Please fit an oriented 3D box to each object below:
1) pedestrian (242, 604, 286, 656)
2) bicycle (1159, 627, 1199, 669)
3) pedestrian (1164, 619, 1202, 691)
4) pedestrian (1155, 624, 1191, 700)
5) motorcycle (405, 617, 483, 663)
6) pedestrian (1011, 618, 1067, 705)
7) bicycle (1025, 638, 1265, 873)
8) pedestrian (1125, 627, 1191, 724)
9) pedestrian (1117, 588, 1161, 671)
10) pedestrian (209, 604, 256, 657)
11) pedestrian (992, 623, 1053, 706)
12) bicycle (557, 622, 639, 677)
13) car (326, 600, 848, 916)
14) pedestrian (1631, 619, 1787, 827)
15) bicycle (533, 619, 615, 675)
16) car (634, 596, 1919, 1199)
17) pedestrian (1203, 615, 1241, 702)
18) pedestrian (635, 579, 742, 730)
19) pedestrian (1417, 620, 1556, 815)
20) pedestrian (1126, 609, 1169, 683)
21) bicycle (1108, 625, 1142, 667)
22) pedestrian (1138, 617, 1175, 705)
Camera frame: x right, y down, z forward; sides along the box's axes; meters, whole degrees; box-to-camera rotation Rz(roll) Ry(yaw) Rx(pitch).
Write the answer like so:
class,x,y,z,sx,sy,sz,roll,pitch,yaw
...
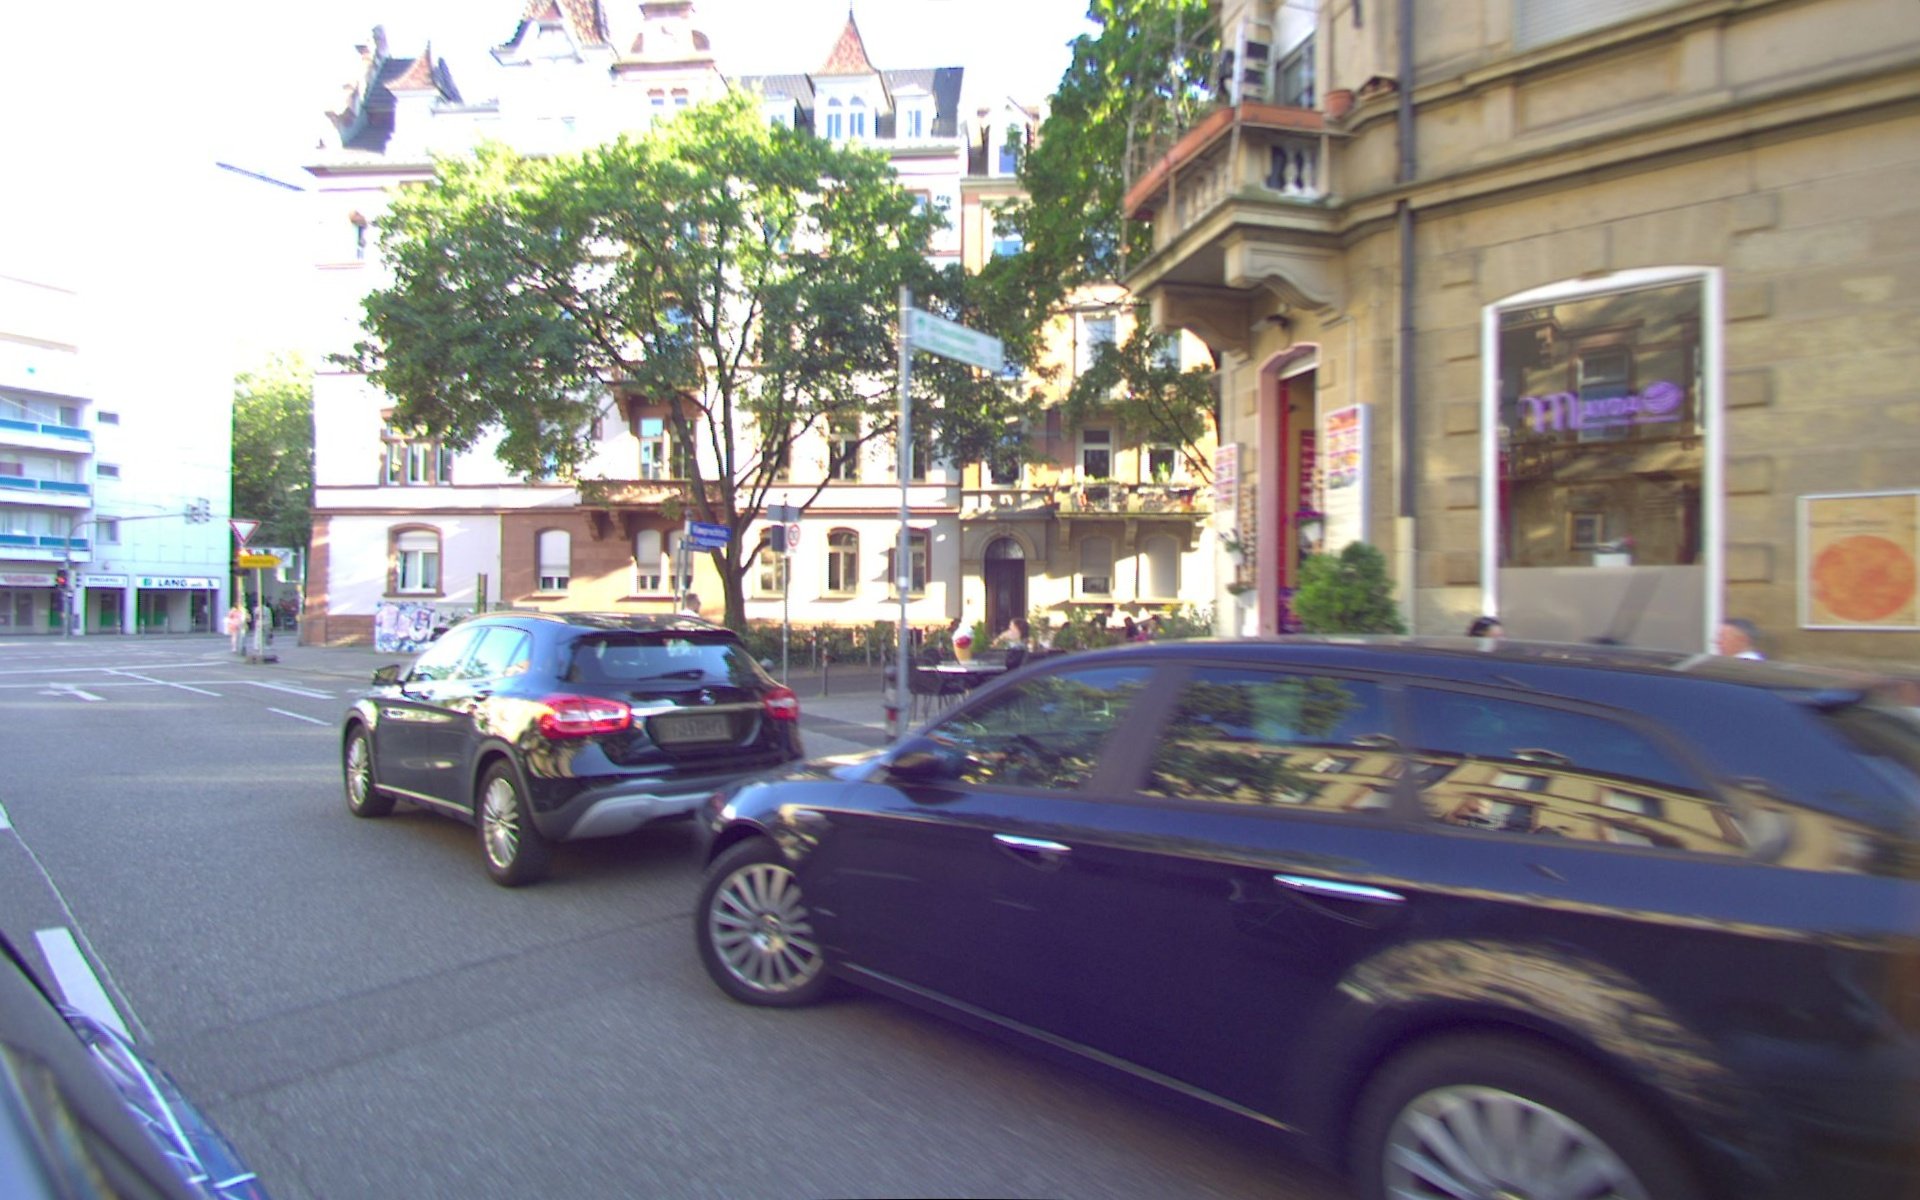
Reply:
class,x,y,z,sx,sy,sz,roll,pitch,yaw
pedestrian,-23.268,0.999,33.866,0.855,1.710,0.986,1,-1,-10
bicycle,6.592,1.409,30.598,0.742,1.189,3.132,0,-1,4
pedestrian,4.006,0.977,18.167,0.509,1.258,0.476,-2,-2,37
pedestrian,3.615,1.046,17.174,0.433,1.258,0.476,-2,-2,37
motorcycle,-14.938,1.149,29.356,0.835,1.275,2.100,0,-1,14
pedestrian,1.346,1.024,17.175,0.724,1.422,0.749,0,-2,28
bicycle,1.169,0.832,6.065,0.528,1.137,1.847,-1,0,42
pedestrian,2.598,0.969,13.274,0.751,1.223,0.723,0,-1,20
pedestrian,3.918,0.648,22.145,0.563,1.784,0.768,3,-3,-38
pedestrian,-24.170,1.009,33.651,0.856,1.710,0.985,0,-1,-6
pedestrian,1.009,1.021,16.310,0.740,1.299,0.738,0,-2,30
bicycle,-8.491,1.126,23.629,2.959,1.205,0.540,-1,-2,44
car,-2.755,0.801,6.902,4.141,1.499,1.738,-1,-3,45
pedestrian,4.796,0.738,6.504,0.755,1.223,0.718,-1,-2,37
bicycle,-8.890,1.047,23.200,2.959,1.205,0.540,-1,-2,44
car,0.826,0.774,3.362,1.738,1.463,4.553,3,-3,-45
pedestrian,4.416,0.973,17.074,0.480,1.442,0.564,-1,-2,29
pedestrian,-3.617,0.710,13.534,0.840,1.913,1.106,-1,-2,32
pedestrian,3.723,0.780,7.145,0.755,1.268,0.718,-1,-2,37
pedestrian,4.363,1.071,23.500,0.766,1.682,0.659,-1,-3,38
bicycle,4.998,1.365,30.754,0.742,1.189,3.132,0,-1,4
pedestrian,3.125,0.965,16.123,0.432,1.377,0.477,-1,-2,31
